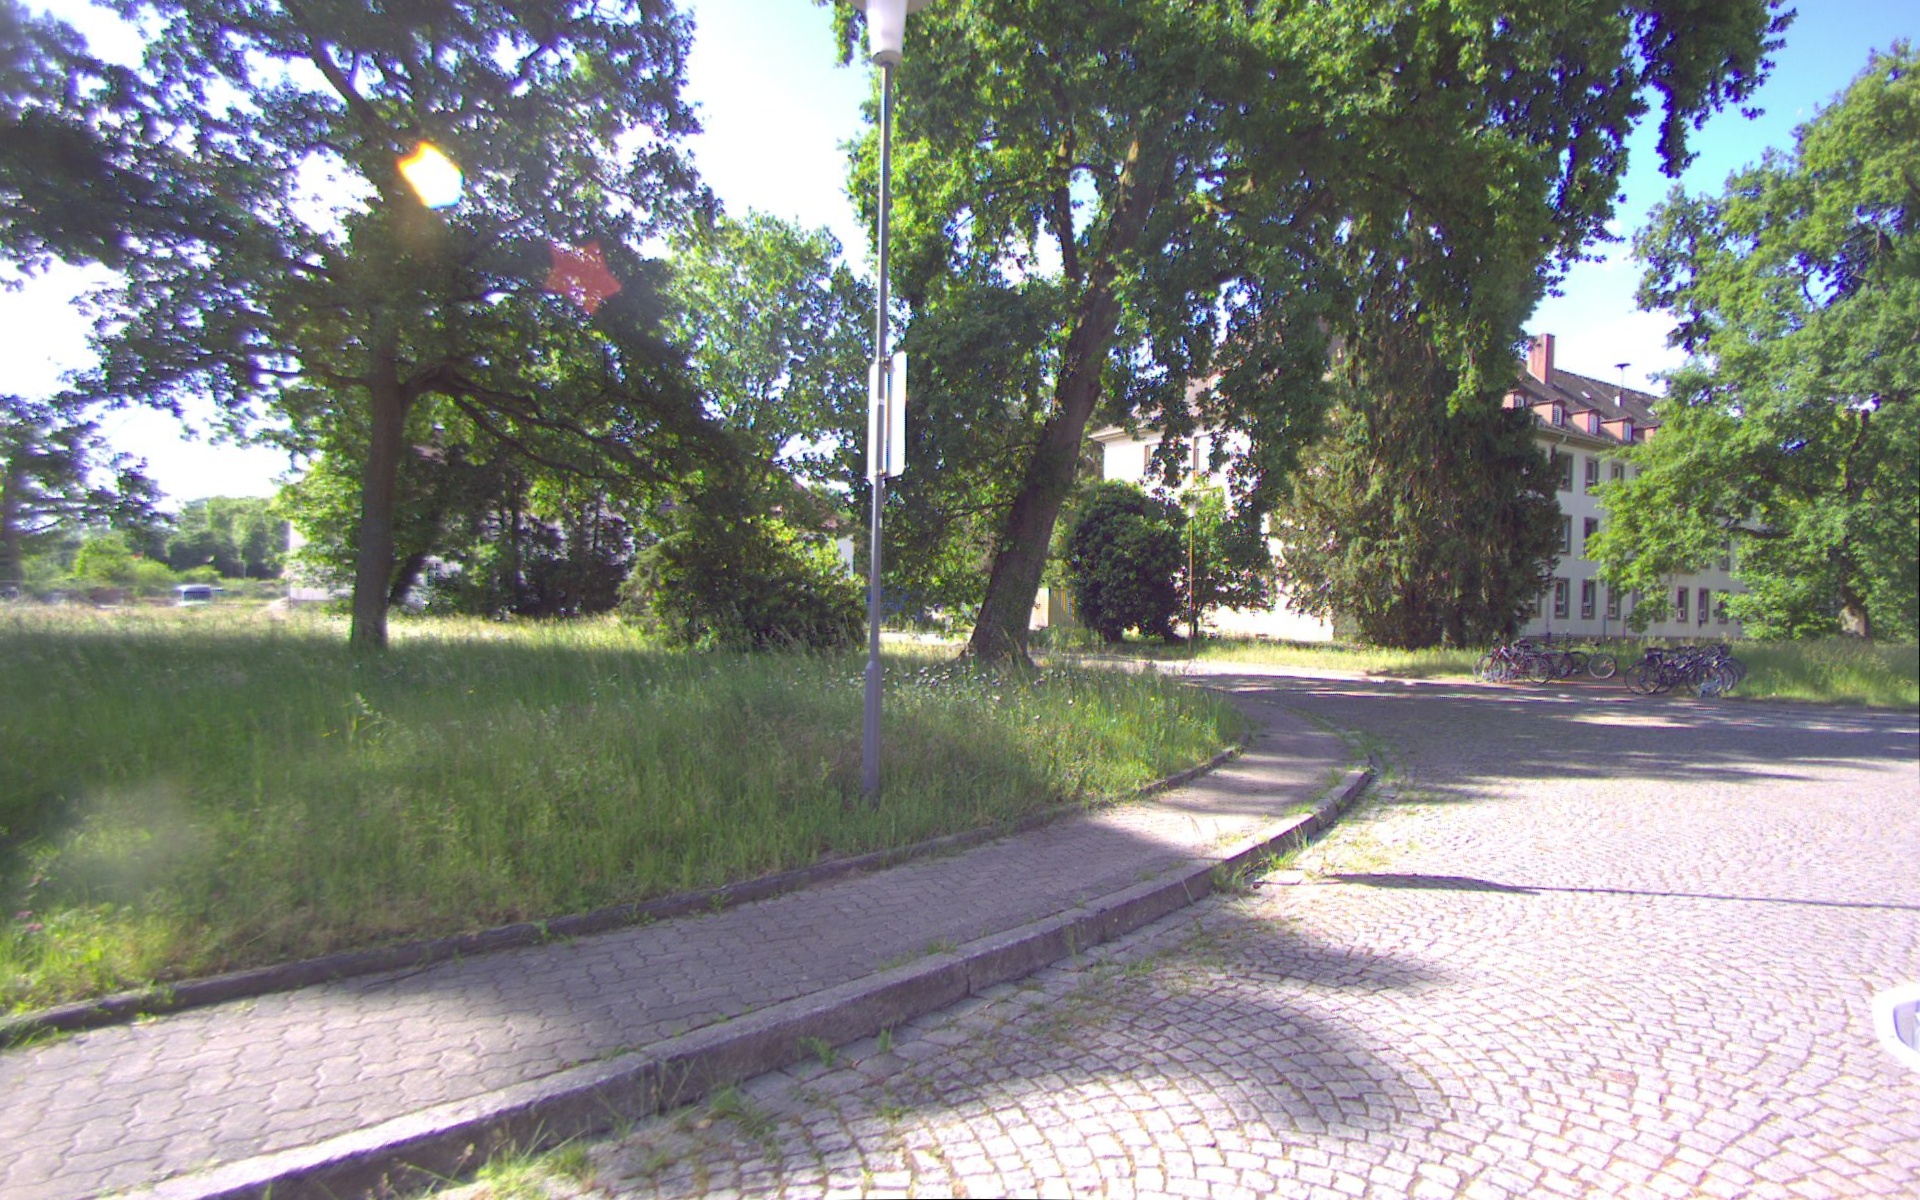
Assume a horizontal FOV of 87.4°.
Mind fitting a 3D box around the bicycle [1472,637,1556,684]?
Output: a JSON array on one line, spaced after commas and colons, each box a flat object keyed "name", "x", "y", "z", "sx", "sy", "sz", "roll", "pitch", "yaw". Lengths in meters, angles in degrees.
[{"name": "bicycle", "x": 14.533, "y": 1.574, "z": 26.384, "sx": 1.887, "sy": 1.117, "sz": 0.568, "roll": 0, "pitch": 1, "yaw": 35}]

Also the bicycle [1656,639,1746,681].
[{"name": "bicycle", "x": 19.731, "y": 1.585, "z": 26.770, "sx": 1.889, "sy": 1.072, "sz": 0.474, "roll": -2, "pitch": -2, "yaw": 38}]

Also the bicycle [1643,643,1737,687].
[{"name": "bicycle", "x": 18.478, "y": 1.631, "z": 25.463, "sx": 1.889, "sy": 1.072, "sz": 0.474, "roll": -2, "pitch": -2, "yaw": 38}]

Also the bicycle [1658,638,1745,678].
[{"name": "bicycle", "x": 20.310, "y": 1.575, "z": 27.544, "sx": 1.889, "sy": 1.072, "sz": 0.474, "roll": -2, "pitch": -2, "yaw": 38}]

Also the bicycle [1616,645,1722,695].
[{"name": "bicycle", "x": 15.915, "y": 1.564, "z": 22.598, "sx": 1.885, "sy": 1.072, "sz": 0.475, "roll": -1, "pitch": -2, "yaw": 30}]

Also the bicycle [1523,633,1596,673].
[{"name": "bicycle", "x": 18.274, "y": 1.596, "z": 30.639, "sx": 1.887, "sy": 1.118, "sz": 0.568, "roll": 1, "pitch": 1, "yaw": 35}]

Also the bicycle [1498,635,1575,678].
[{"name": "bicycle", "x": 16.474, "y": 1.599, "z": 28.746, "sx": 1.885, "sy": 1.118, "sz": 0.569, "roll": 1, "pitch": 1, "yaw": 31}]

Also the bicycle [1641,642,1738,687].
[{"name": "bicycle", "x": 17.957, "y": 1.569, "z": 24.771, "sx": 1.888, "sy": 1.072, "sz": 0.474, "roll": -2, "pitch": -2, "yaw": 36}]

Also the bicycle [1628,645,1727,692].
[{"name": "bicycle", "x": 16.976, "y": 1.597, "z": 23.803, "sx": 1.888, "sy": 1.072, "sz": 0.474, "roll": -2, "pitch": -2, "yaw": 36}]

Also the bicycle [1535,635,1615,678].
[{"name": "bicycle", "x": 17.655, "y": 1.596, "z": 28.859, "sx": 1.890, "sy": 1.118, "sz": 0.567, "roll": 1, "pitch": 1, "yaw": 40}]

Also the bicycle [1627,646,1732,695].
[{"name": "bicycle", "x": 16.371, "y": 1.594, "z": 22.904, "sx": 1.885, "sy": 1.072, "sz": 0.475, "roll": -1, "pitch": -2, "yaw": 30}]

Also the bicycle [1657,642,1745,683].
[{"name": "bicycle", "x": 20.028, "y": 1.666, "z": 27.171, "sx": 1.889, "sy": 1.072, "sz": 0.474, "roll": -2, "pitch": -2, "yaw": 38}]

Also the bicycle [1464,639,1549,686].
[{"name": "bicycle", "x": 14.131, "y": 1.605, "z": 26.006, "sx": 1.887, "sy": 1.117, "sz": 0.568, "roll": 0, "pitch": 1, "yaw": 35}]

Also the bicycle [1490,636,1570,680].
[{"name": "bicycle", "x": 15.659, "y": 1.575, "z": 27.605, "sx": 1.885, "sy": 1.118, "sz": 0.569, "roll": 1, "pitch": 1, "yaw": 31}]

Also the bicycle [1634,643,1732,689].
[{"name": "bicycle", "x": 17.391, "y": 1.571, "z": 24.195, "sx": 1.888, "sy": 1.072, "sz": 0.474, "roll": -2, "pitch": -2, "yaw": 36}]
